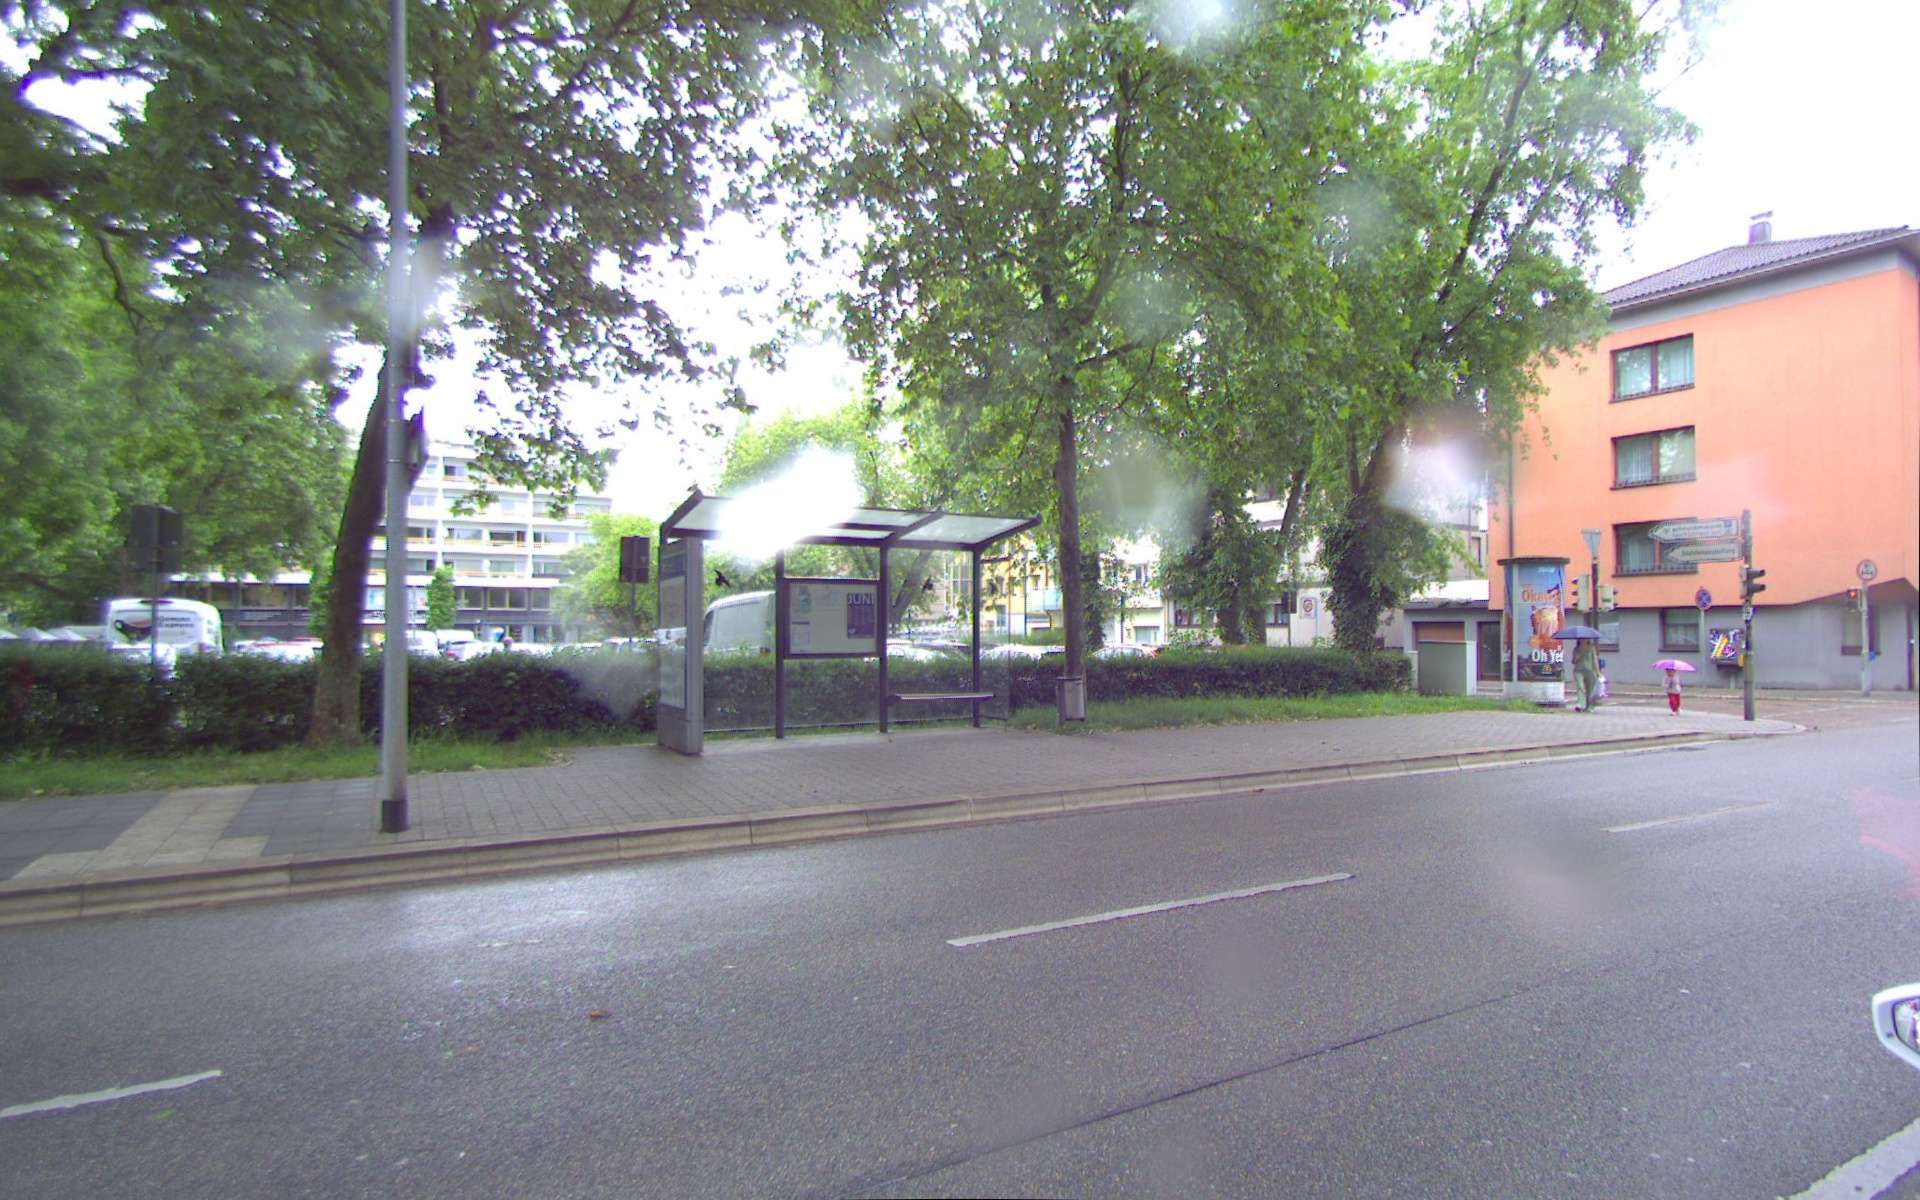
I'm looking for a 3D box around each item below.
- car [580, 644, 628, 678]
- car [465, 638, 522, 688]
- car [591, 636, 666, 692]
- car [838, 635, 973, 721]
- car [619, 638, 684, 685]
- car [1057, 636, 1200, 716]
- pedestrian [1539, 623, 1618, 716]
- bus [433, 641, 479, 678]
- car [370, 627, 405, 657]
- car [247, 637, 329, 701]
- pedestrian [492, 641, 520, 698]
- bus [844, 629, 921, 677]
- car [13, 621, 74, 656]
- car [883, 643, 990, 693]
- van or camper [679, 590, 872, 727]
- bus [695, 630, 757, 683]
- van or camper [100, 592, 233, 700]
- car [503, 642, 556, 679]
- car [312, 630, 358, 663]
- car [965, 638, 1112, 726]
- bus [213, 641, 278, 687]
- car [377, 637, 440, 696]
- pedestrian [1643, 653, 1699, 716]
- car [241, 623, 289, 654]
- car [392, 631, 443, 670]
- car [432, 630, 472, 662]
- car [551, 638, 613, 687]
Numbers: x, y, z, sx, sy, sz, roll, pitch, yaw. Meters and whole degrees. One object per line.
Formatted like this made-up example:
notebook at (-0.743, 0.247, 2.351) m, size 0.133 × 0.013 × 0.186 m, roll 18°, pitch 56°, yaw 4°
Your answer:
car at (-15.202, 2.576, 42.825) m, size 1.332 × 1.401 × 3.141 m, roll 2°, pitch -3°, yaw -30°
car at (-14.547, 1.927, 31.277) m, size 1.375 × 1.454 × 3.248 m, roll 1°, pitch -3°, yaw -29°
car at (-9.117, 1.721, 27.501) m, size 1.375 × 1.454 × 3.248 m, roll 1°, pitch -3°, yaw -29°
car at (-1.216, 1.573, 21.183) m, size 1.492 × 1.544 × 3.174 m, roll 2°, pitch 0°, yaw -32°
car at (-9.998, 1.959, 32.470) m, size 1.375 × 1.454 × 3.248 m, roll 1°, pitch -3°, yaw -29°
car at (3.799, 1.683, 23.037) m, size 1.492 × 1.544 × 3.174 m, roll 2°, pitch 0°, yaw -32°
pedestrian at (12.499, 1.372, 20.297) m, size 1.198 × 1.765 × 0.984 m, roll 1°, pitch 0°, yaw -38°
bus at (-22.377, 2.607, 44.567) m, size 1.587 × 1.559 × 3.403 m, roll 2°, pitch -3°, yaw -30°
car at (-33.048, 2.396, 57.911) m, size 1.622 × 1.544 × 3.174 m, roll 1°, pitch 1°, yaw -32°
car at (-16.516, 1.657, 24.785) m, size 1.375 × 1.454 × 3.248 m, roll 1°, pitch -3°, yaw -29°
pedestrian at (-10.108, 1.533, 22.373) m, size 0.462 × 1.229 × 0.434 m, roll 2°, pitch 0°, yaw -37°
bus at (-2.467, 1.657, 31.553) m, size 1.364 × 1.451 × 2.777 m, roll 2°, pitch -3°, yaw -30°
car at (-40.867, 1.688, 44.846) m, size 1.412 × 1.447 × 2.941 m, roll 1°, pitch 0°, yaw -30°
car at (-0.838, 2.224, 33.513) m, size 1.799 × 1.536 × 3.965 m, roll 2°, pitch -3°, yaw -33°
van or camper at (-3.549, 1.053, 18.614) m, size 2.026 × 2.198 × 4.458 m, roll 2°, pitch -3°, yaw -32°
bus at (-7.835, 1.863, 33.519) m, size 1.363 × 1.698 × 2.779 m, roll 1°, pitch -3°, yaw -28°
van or camper at (-20.703, 1.215, 26.418) m, size 2.074 × 2.570 × 4.391 m, roll 1°, pitch -3°, yaw -30°
car at (-17.701, 2.451, 41.233) m, size 1.587 × 1.447 × 3.293 m, roll 2°, pitch -3°, yaw -30°
car at (-31.426, 2.308, 50.580) m, size 1.818 × 1.444 × 3.799 m, roll 2°, pitch 0°, yaw -31°
car at (1.579, 1.658, 21.166) m, size 1.492 × 1.544 × 3.174 m, roll 2°, pitch 0°, yaw -32°
bus at (-25.554, 2.268, 36.012) m, size 1.587 × 1.559 × 3.403 m, roll 2°, pitch -3°, yaw -30°
car at (-14.738, 1.747, 26.846) m, size 1.375 × 1.454 × 3.248 m, roll 1°, pitch -3°, yaw -29°
pedestrian at (14.240, 1.675, 20.124) m, size 0.819 × 1.190 × 0.679 m, roll 1°, pitch 0°, yaw -36°
car at (-33.290, 1.866, 48.166) m, size 1.587 × 1.447 × 3.293 m, roll 2°, pitch -3°, yaw -30°
car at (-20.905, 1.942, 38.683) m, size 1.587 × 1.447 × 3.293 m, roll 2°, pitch -3°, yaw -30°
car at (-27.304, 2.450, 53.995) m, size 1.622 × 1.544 × 3.174 m, roll 2°, pitch 0°, yaw -32°
car at (-11.963, 1.938, 31.677) m, size 1.375 × 1.454 × 3.248 m, roll 1°, pitch -3°, yaw -29°
